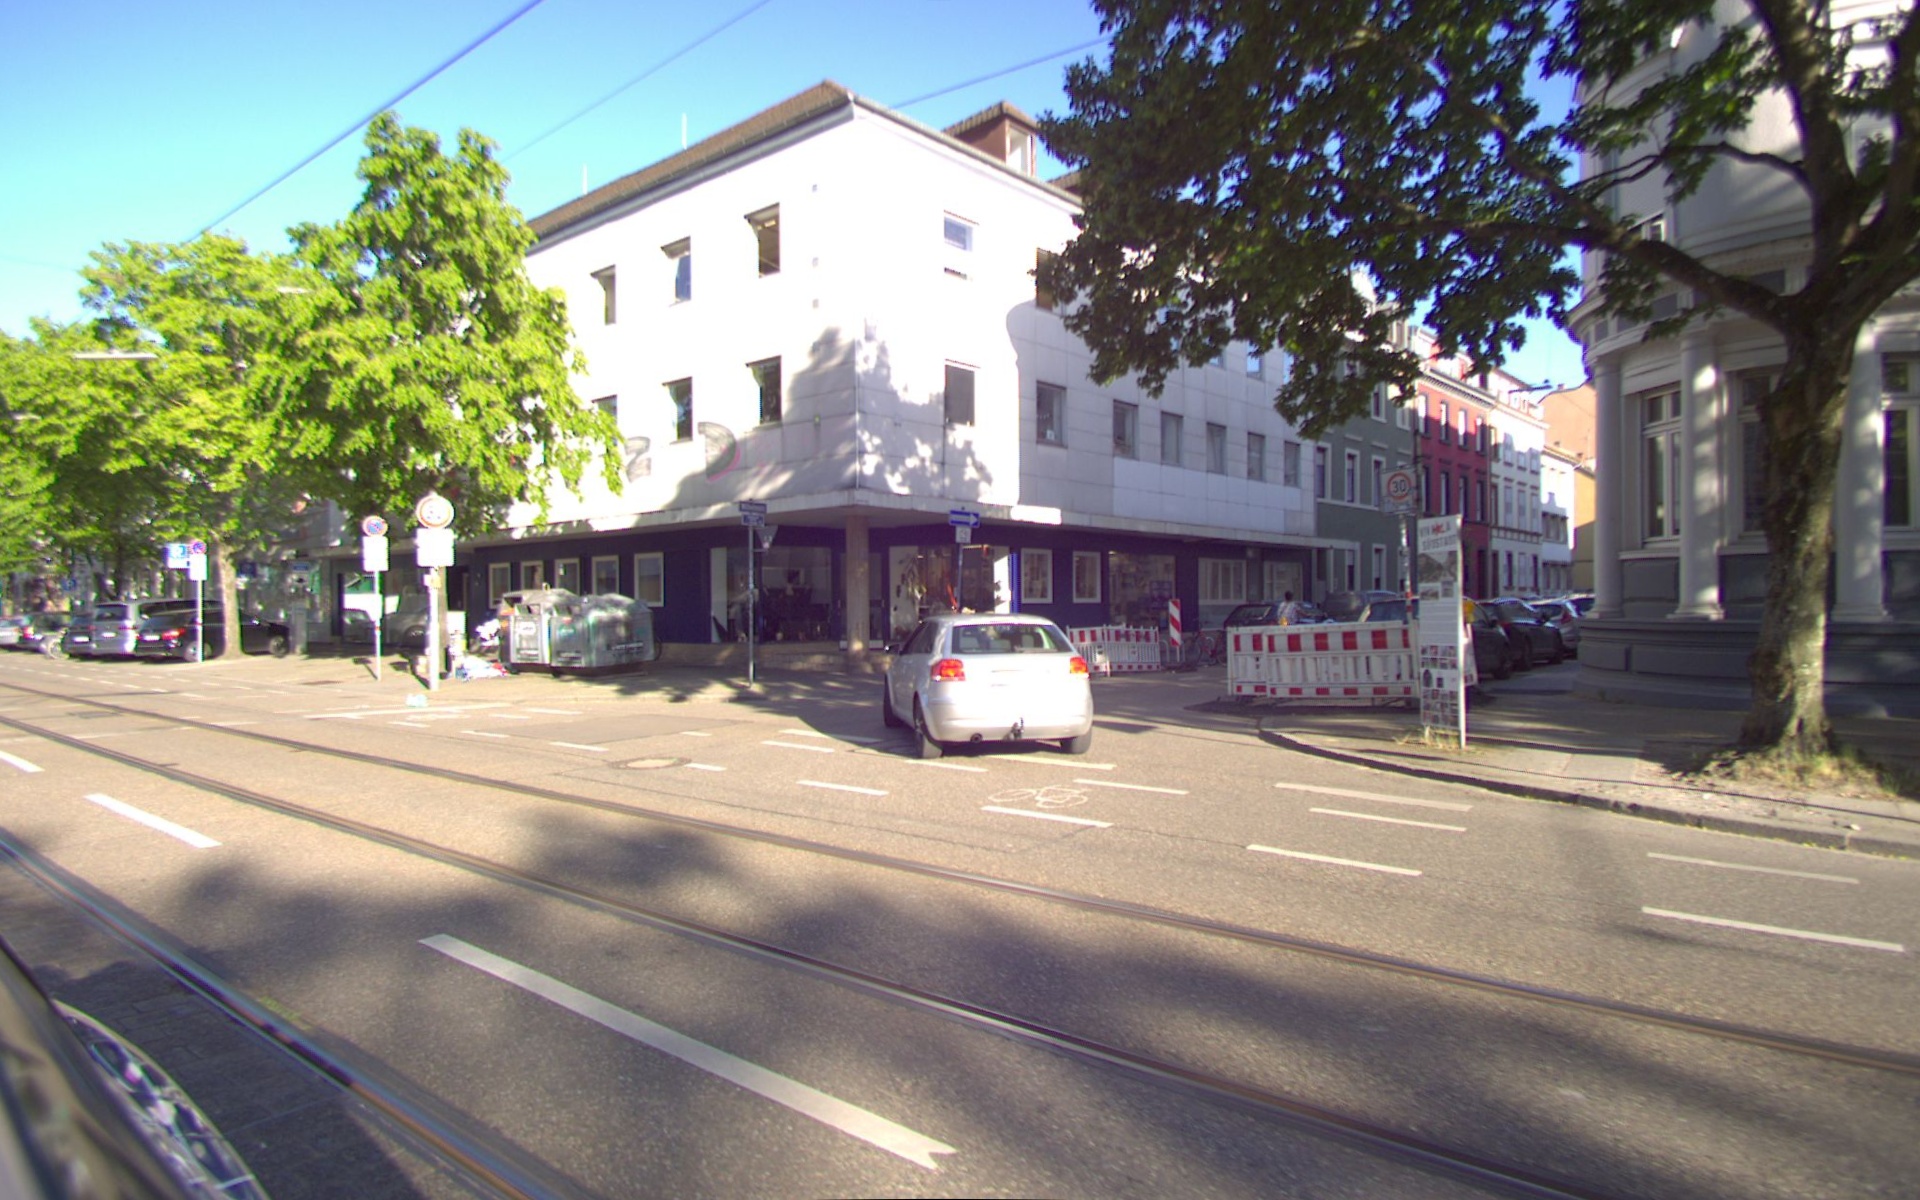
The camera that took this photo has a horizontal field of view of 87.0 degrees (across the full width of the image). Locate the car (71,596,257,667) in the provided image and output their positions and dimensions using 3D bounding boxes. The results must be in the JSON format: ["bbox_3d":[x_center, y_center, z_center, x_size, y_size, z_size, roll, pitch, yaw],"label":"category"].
[{"bbox_3d":[-25.266,0.932,32.323,1.932,2.001,4.346,-1,1,16],"label":"car"}]

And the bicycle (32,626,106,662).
[{"bbox_3d":[-31.663,1.544,36.004,0.489,1.153,1.959,-1,1,19],"label":"bicycle"}]

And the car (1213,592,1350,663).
[{"bbox_3d":[8.341,0.670,26.095,3.941,1.596,1.717,-2,1,-45],"label":"car"}]

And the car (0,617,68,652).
[{"bbox_3d":[-45.255,1.671,47.954,1.922,1.502,4.189,-2,1,10],"label":"car"}]

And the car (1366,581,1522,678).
[{"bbox_3d":[8.120,0.445,16.861,1.475,1.454,3.204,-1,-1,42],"label":"car"}]

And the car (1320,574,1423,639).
[{"bbox_3d":[12.226,0.177,29.928,1.606,1.785,3.945,-1,-1,41],"label":"car"}]

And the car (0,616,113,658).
[{"bbox_3d":[-38.630,1.536,42.788,1.821,1.524,4.103,-2,1,11],"label":"car"}]

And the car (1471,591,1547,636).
[{"bbox_3d":[22.512,0.521,41.424,1.738,1.763,3.942,-1,-1,44],"label":"car"}]

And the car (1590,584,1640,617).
[{"bbox_3d":[36.142,0.042,55.816,1.737,1.763,3.945,-1,-1,41],"label":"car"}]

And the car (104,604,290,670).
[{"bbox_3d":[-23.032,1.064,30.778,1.893,1.679,4.279,-1,2,13],"label":"car"}]

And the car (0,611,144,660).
[{"bbox_3d":[-35.827,1.390,40.875,1.837,1.690,4.069,-1,2,35],"label":"car"}]

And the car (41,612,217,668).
[{"bbox_3d":[-27.297,1.259,33.425,1.795,1.698,4.226,-1,-1,17],"label":"car"}]

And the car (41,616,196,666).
[{"bbox_3d":[-29.600,1.418,35.752,1.827,1.487,3.850,-1,1,15],"label":"car"}]

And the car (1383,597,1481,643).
[{"bbox_3d":[15.776,0.626,33.776,1.752,1.431,3.942,-1,-1,44],"label":"car"}]

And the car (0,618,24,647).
[{"bbox_3d":[-52.649,1.820,54.031,1.651,1.565,3.612,-3,0,11],"label":"car"}]

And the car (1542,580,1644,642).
[{"bbox_3d":[18.038,0.304,28.786,1.802,1.629,3.945,-2,-1,42],"label":"car"}]

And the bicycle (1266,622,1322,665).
[{"bbox_3d":[7.290,0.931,22.049,0.450,0.888,1.875,-2,-1,41],"label":"bicycle"}]

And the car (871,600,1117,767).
[{"bbox_3d":[0.148,0.766,11.103,1.686,1.447,4.181,-1,-1,-12],"label":"car"}]

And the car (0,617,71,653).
[{"bbox_3d":[-43.263,1.592,46.292,1.733,1.481,3.675,-1,1,9],"label":"car"}]

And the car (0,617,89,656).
[{"bbox_3d":[-40.816,1.590,44.659,1.595,1.504,3.364,-2,1,9],"label":"car"}]

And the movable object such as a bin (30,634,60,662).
[{"bbox_3d":[-32.107,1.672,35.523,0.571,0.920,0.573,-2,1,22],"label":"movable object such as a bin"}]

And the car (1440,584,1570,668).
[{"bbox_3d":[11.200,0.493,20.697,1.475,1.560,3.718,-1,-1,42],"label":"car"}]

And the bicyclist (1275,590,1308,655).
[{"bbox_3d":[7.237,0.486,22.078,0.459,1.388,0.632,-2,-1,42],"label":"bicyclist"}]

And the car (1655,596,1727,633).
[{"bbox_3d":[28.489,0.553,39.414,1.738,1.364,3.942,-1,-1,44],"label":"car"}]

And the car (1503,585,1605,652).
[{"bbox_3d":[14.406,0.424,24.462,1.525,1.509,3.275,-2,-1,41],"label":"car"}]
